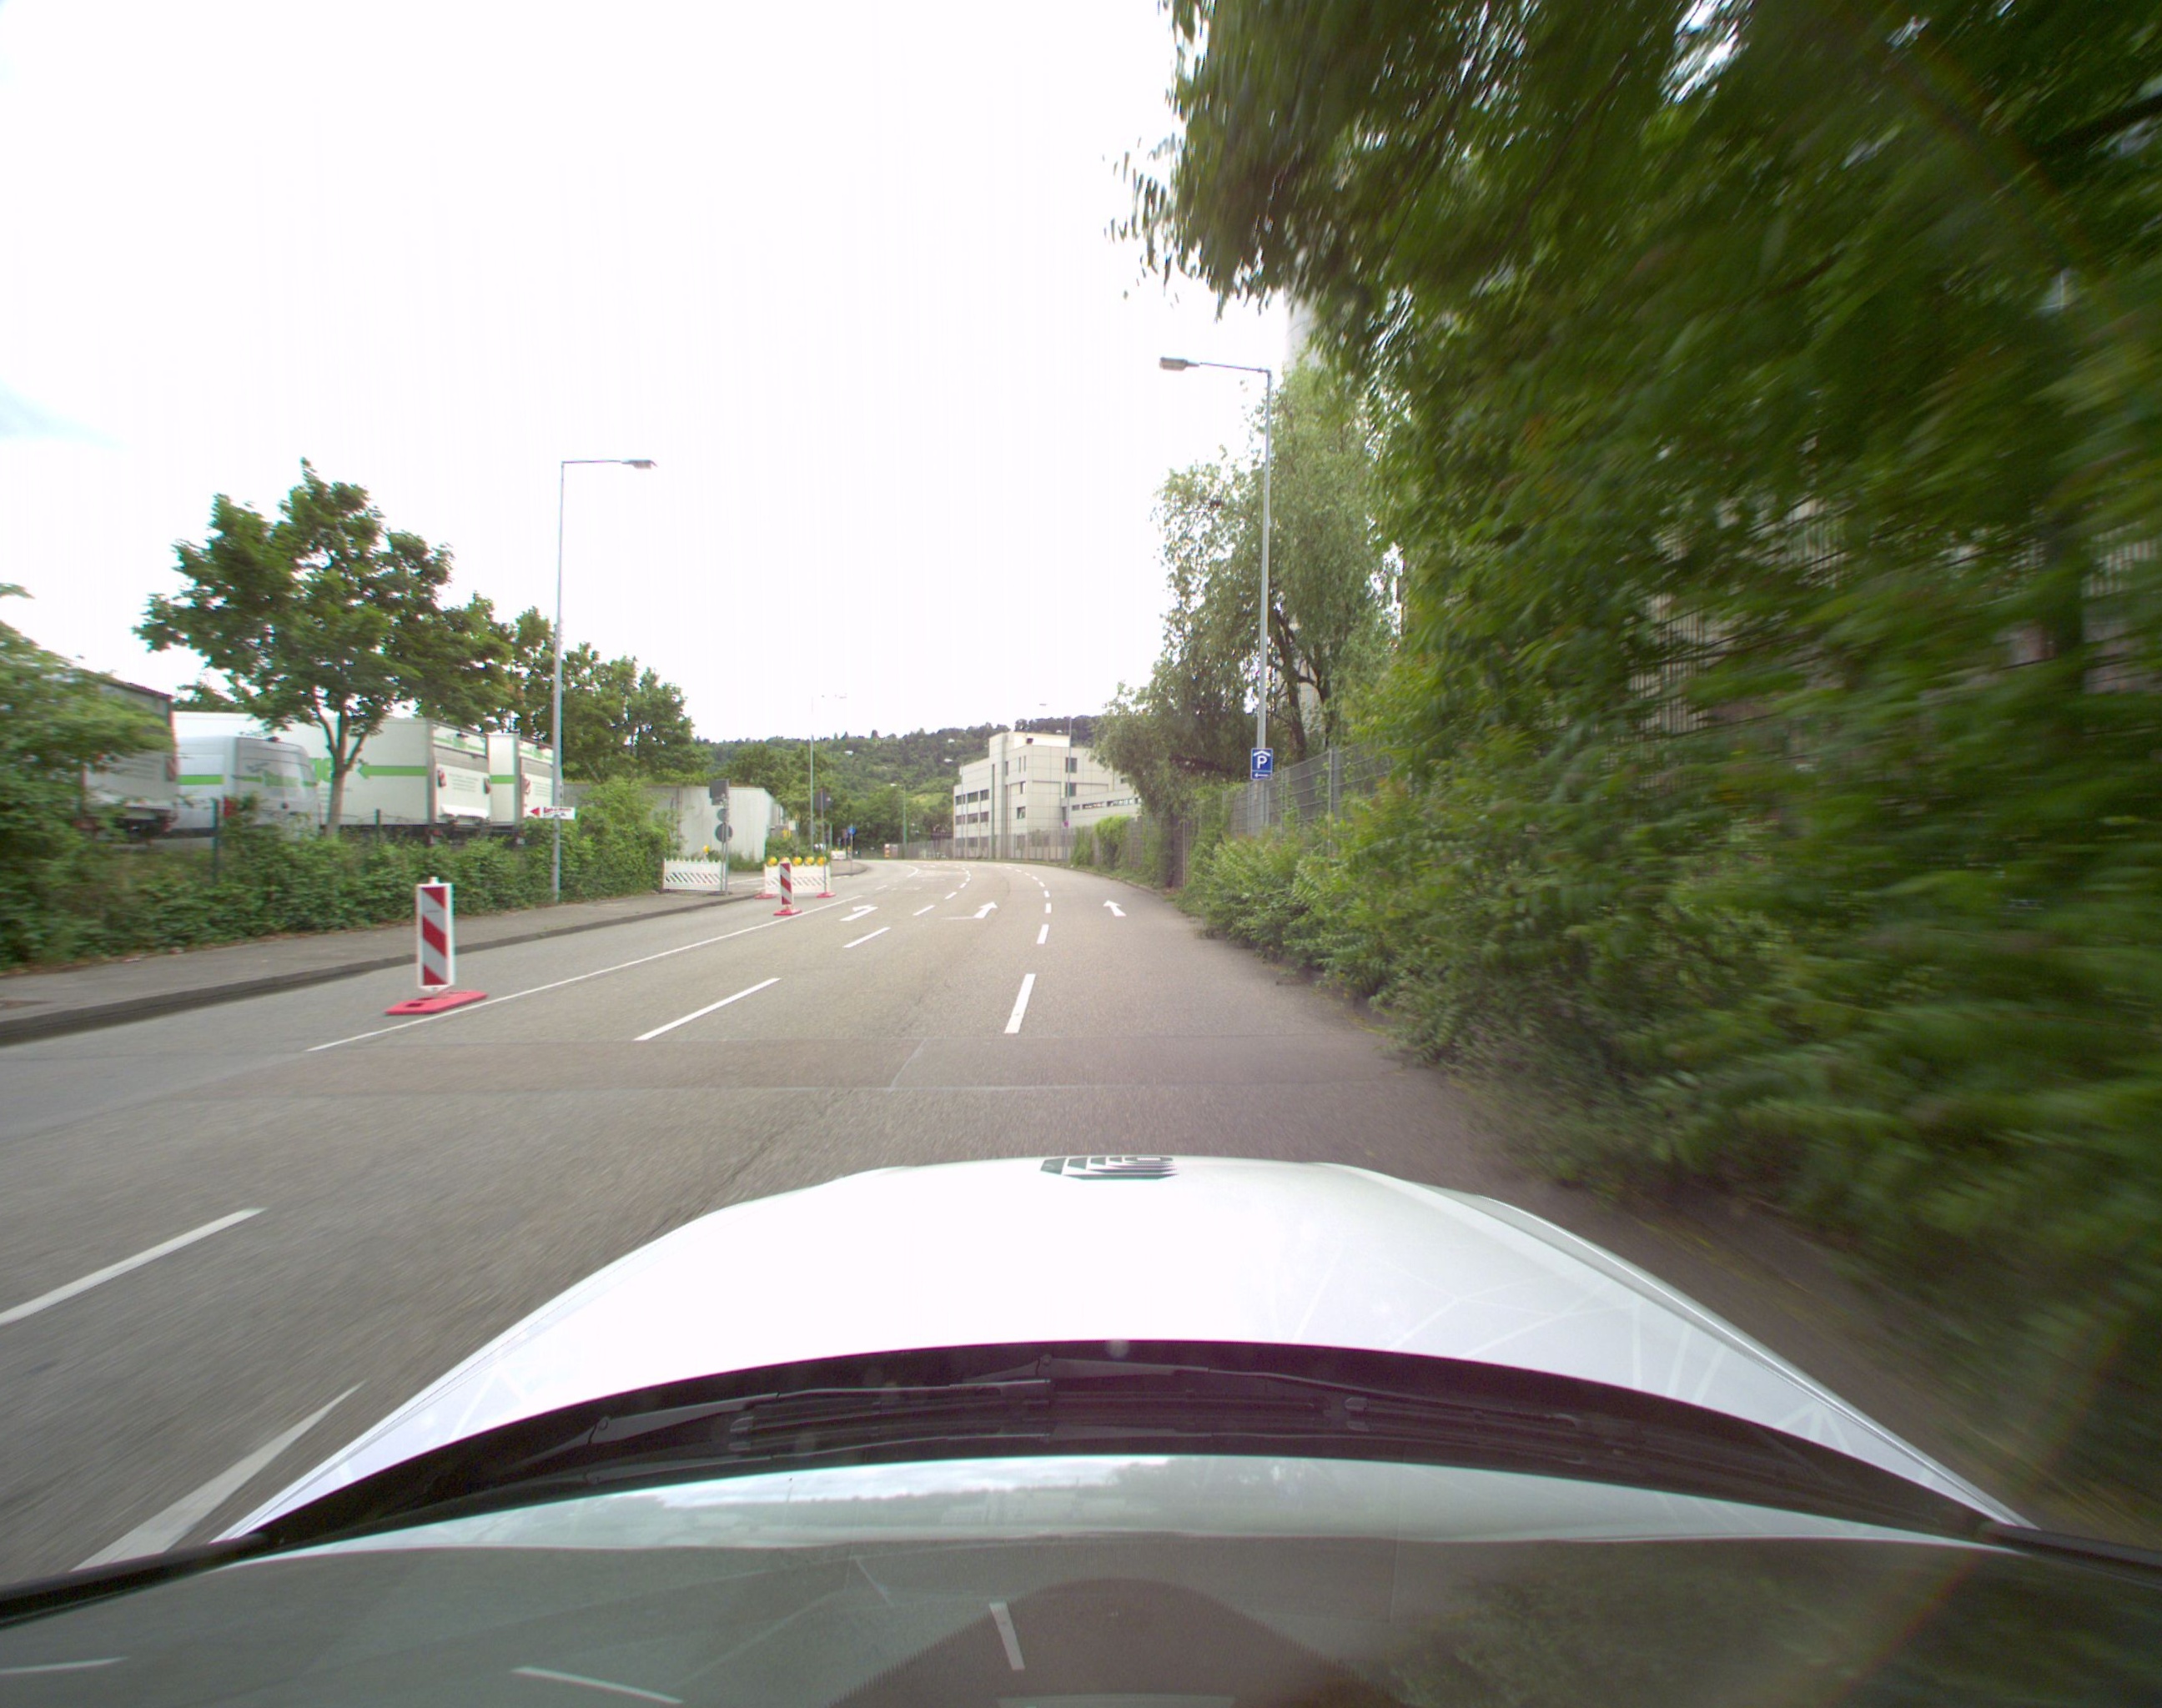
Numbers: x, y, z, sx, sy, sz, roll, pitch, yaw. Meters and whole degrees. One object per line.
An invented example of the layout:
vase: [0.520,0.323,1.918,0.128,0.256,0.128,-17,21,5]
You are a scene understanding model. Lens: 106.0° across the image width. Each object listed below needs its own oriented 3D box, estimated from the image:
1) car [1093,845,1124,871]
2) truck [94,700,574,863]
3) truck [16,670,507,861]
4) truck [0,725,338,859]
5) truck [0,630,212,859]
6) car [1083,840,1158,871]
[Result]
car: [2.175,0.357,66.308,1.990,2.014,4.836,0,-1,-5]
truck: [-20.203,-1.808,22.812,9.621,3.991,3.041,1,-1,-10]
truck: [-19.129,-1.869,19.712,7.846,3.991,3.040,1,-1,-12]
truck: [-18.310,-1.147,16.262,4.680,2.406,2.191,0,-1,-5]
truck: [-18.932,-1.629,11.867,7.881,3.250,3.026,1,-2,-26]
car: [3.031,0.102,63.947,2.011,2.263,6.095,2,0,-43]
